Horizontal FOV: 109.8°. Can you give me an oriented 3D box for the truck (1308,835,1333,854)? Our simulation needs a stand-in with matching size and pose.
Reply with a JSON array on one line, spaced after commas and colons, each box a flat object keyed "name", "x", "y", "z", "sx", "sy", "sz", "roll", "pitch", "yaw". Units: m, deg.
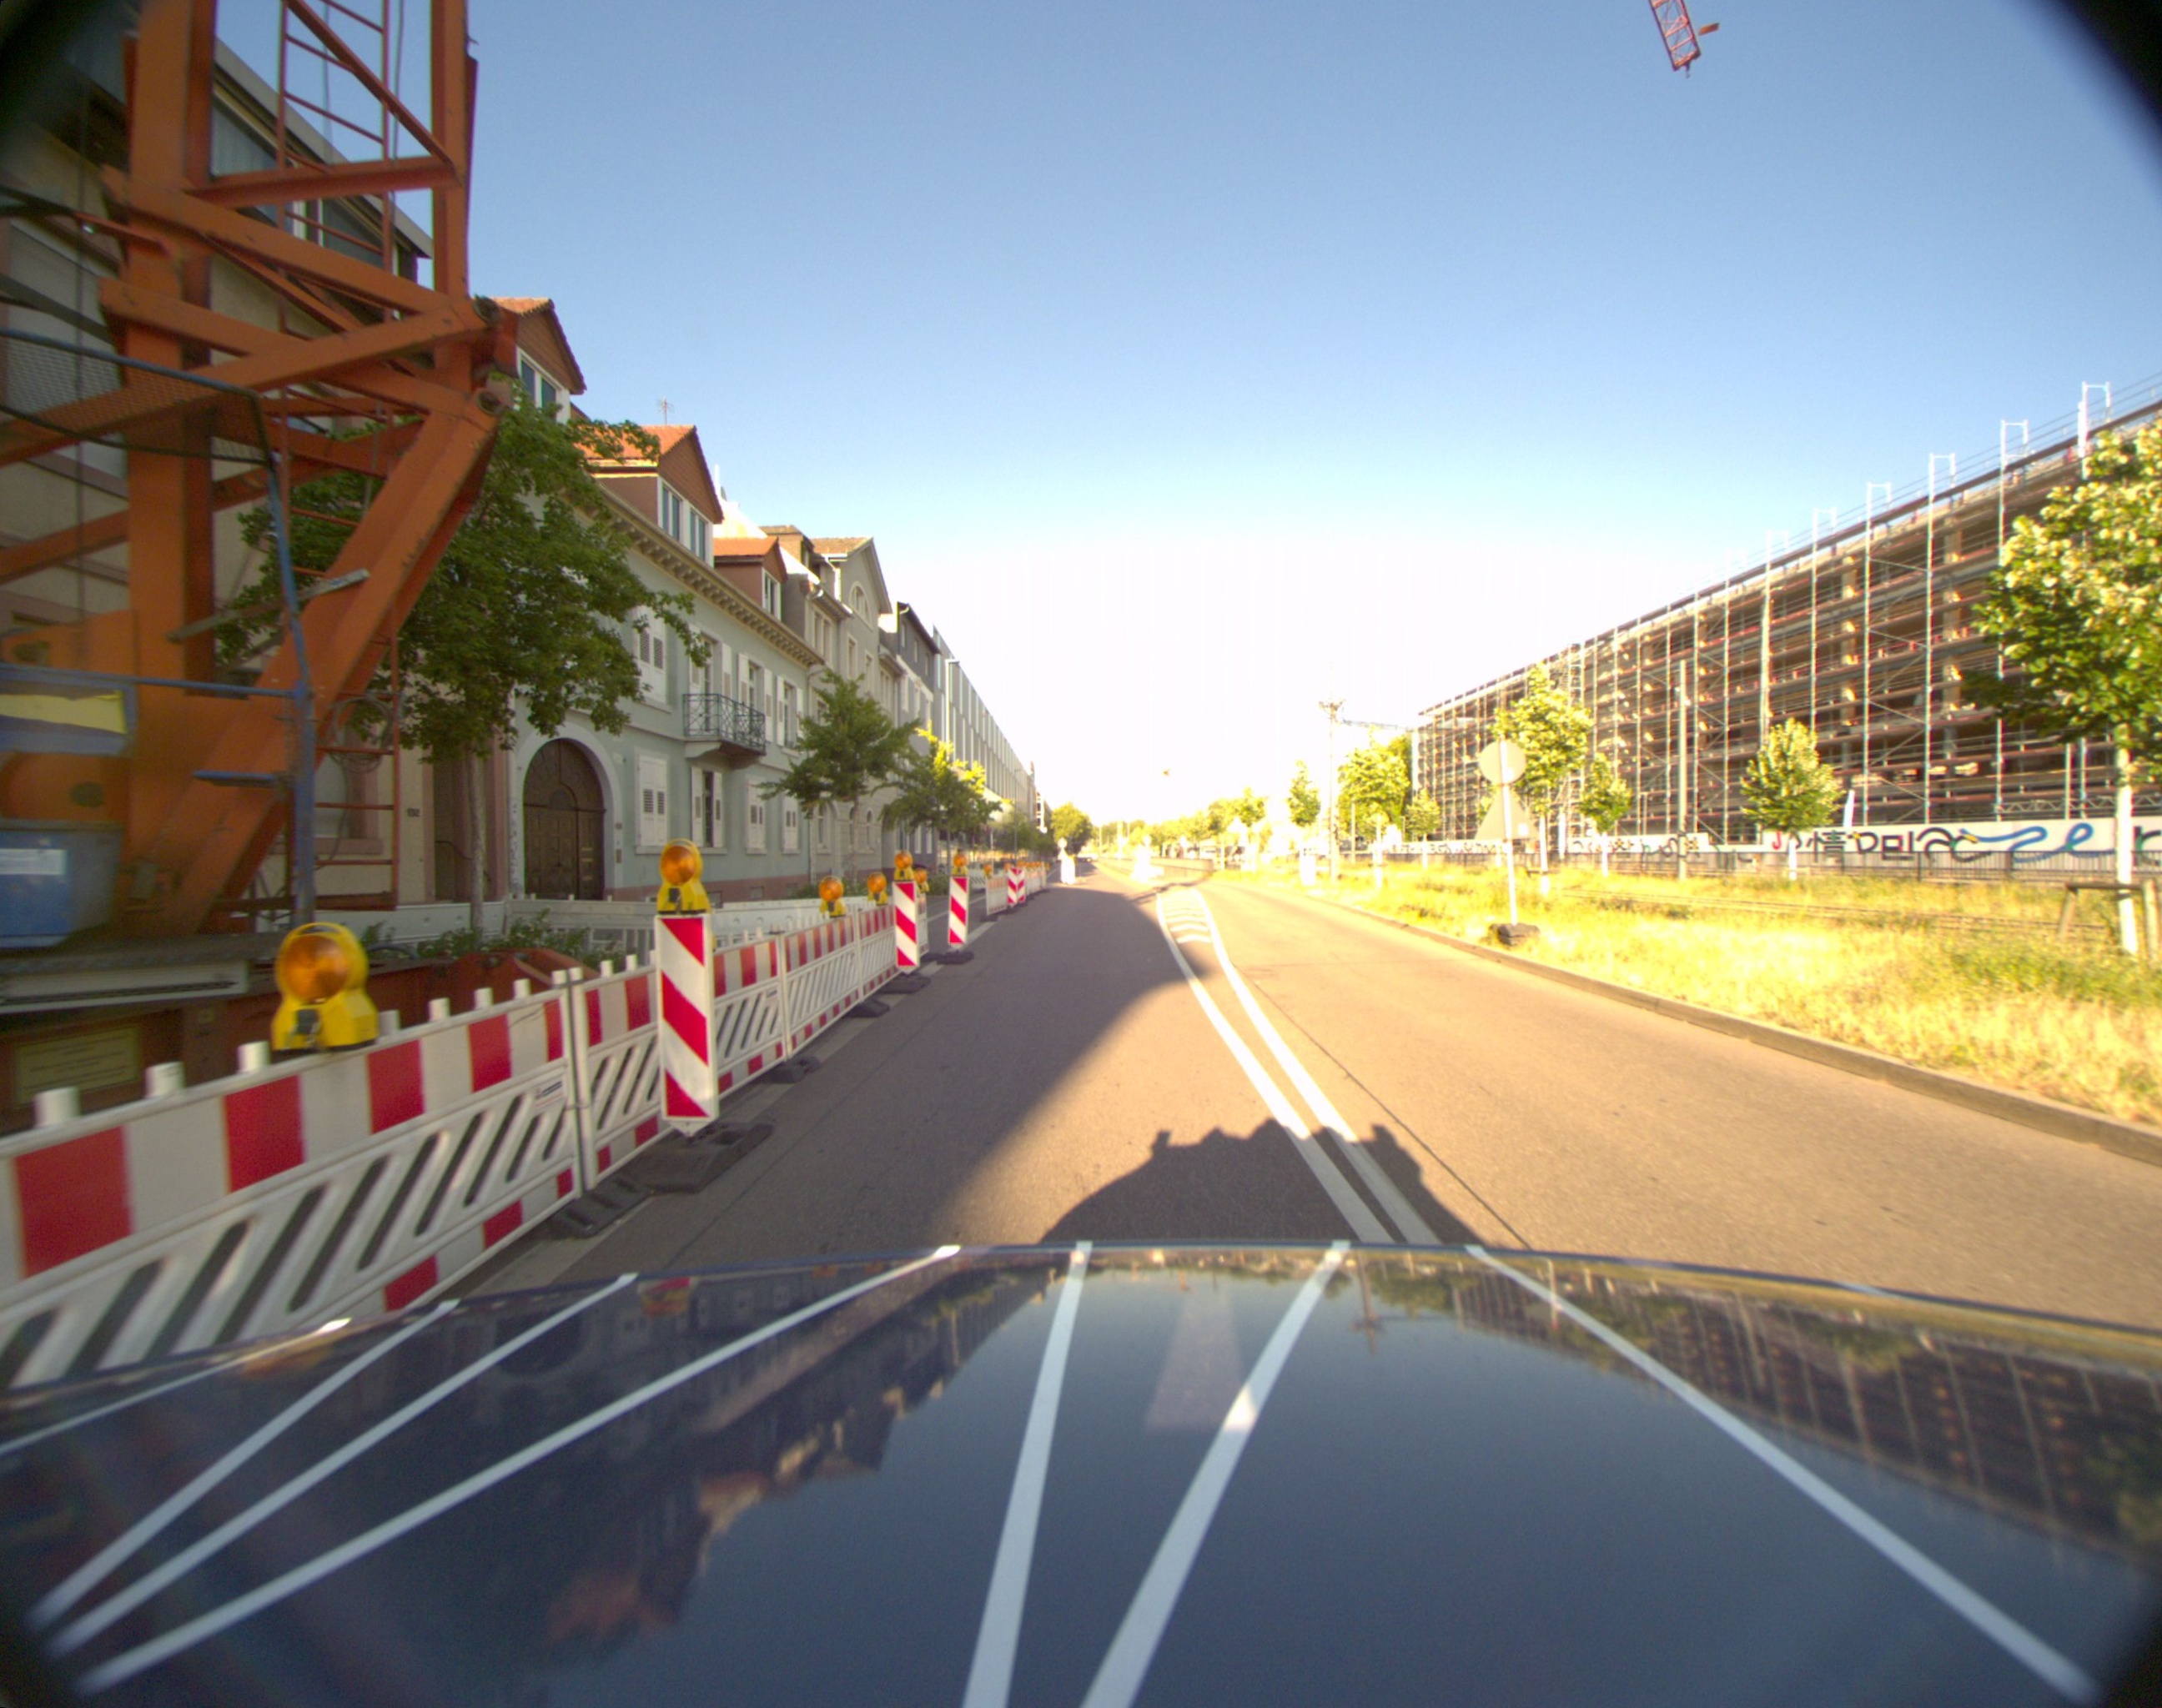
[{"name": "truck", "x": 33.008, "y": -1.259, "z": 104.851, "sx": 2.143, "sy": 2.559, "sz": 4.740, "roll": 0, "pitch": 0, "yaw": 2}]

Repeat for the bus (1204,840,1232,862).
[{"name": "bus", "x": 20.212, "y": -0.467, "z": 112.557, "sx": 2.723, "sy": 3.203, "sz": 8.656, "roll": 0, "pitch": 0, "yaw": 2}]

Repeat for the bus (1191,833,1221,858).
[{"name": "bus", "x": 16.880, "y": -1.135, "z": 102.975, "sx": 2.724, "sy": 3.203, "sz": 8.655, "roll": 0, "pitch": 0, "yaw": 0}]
